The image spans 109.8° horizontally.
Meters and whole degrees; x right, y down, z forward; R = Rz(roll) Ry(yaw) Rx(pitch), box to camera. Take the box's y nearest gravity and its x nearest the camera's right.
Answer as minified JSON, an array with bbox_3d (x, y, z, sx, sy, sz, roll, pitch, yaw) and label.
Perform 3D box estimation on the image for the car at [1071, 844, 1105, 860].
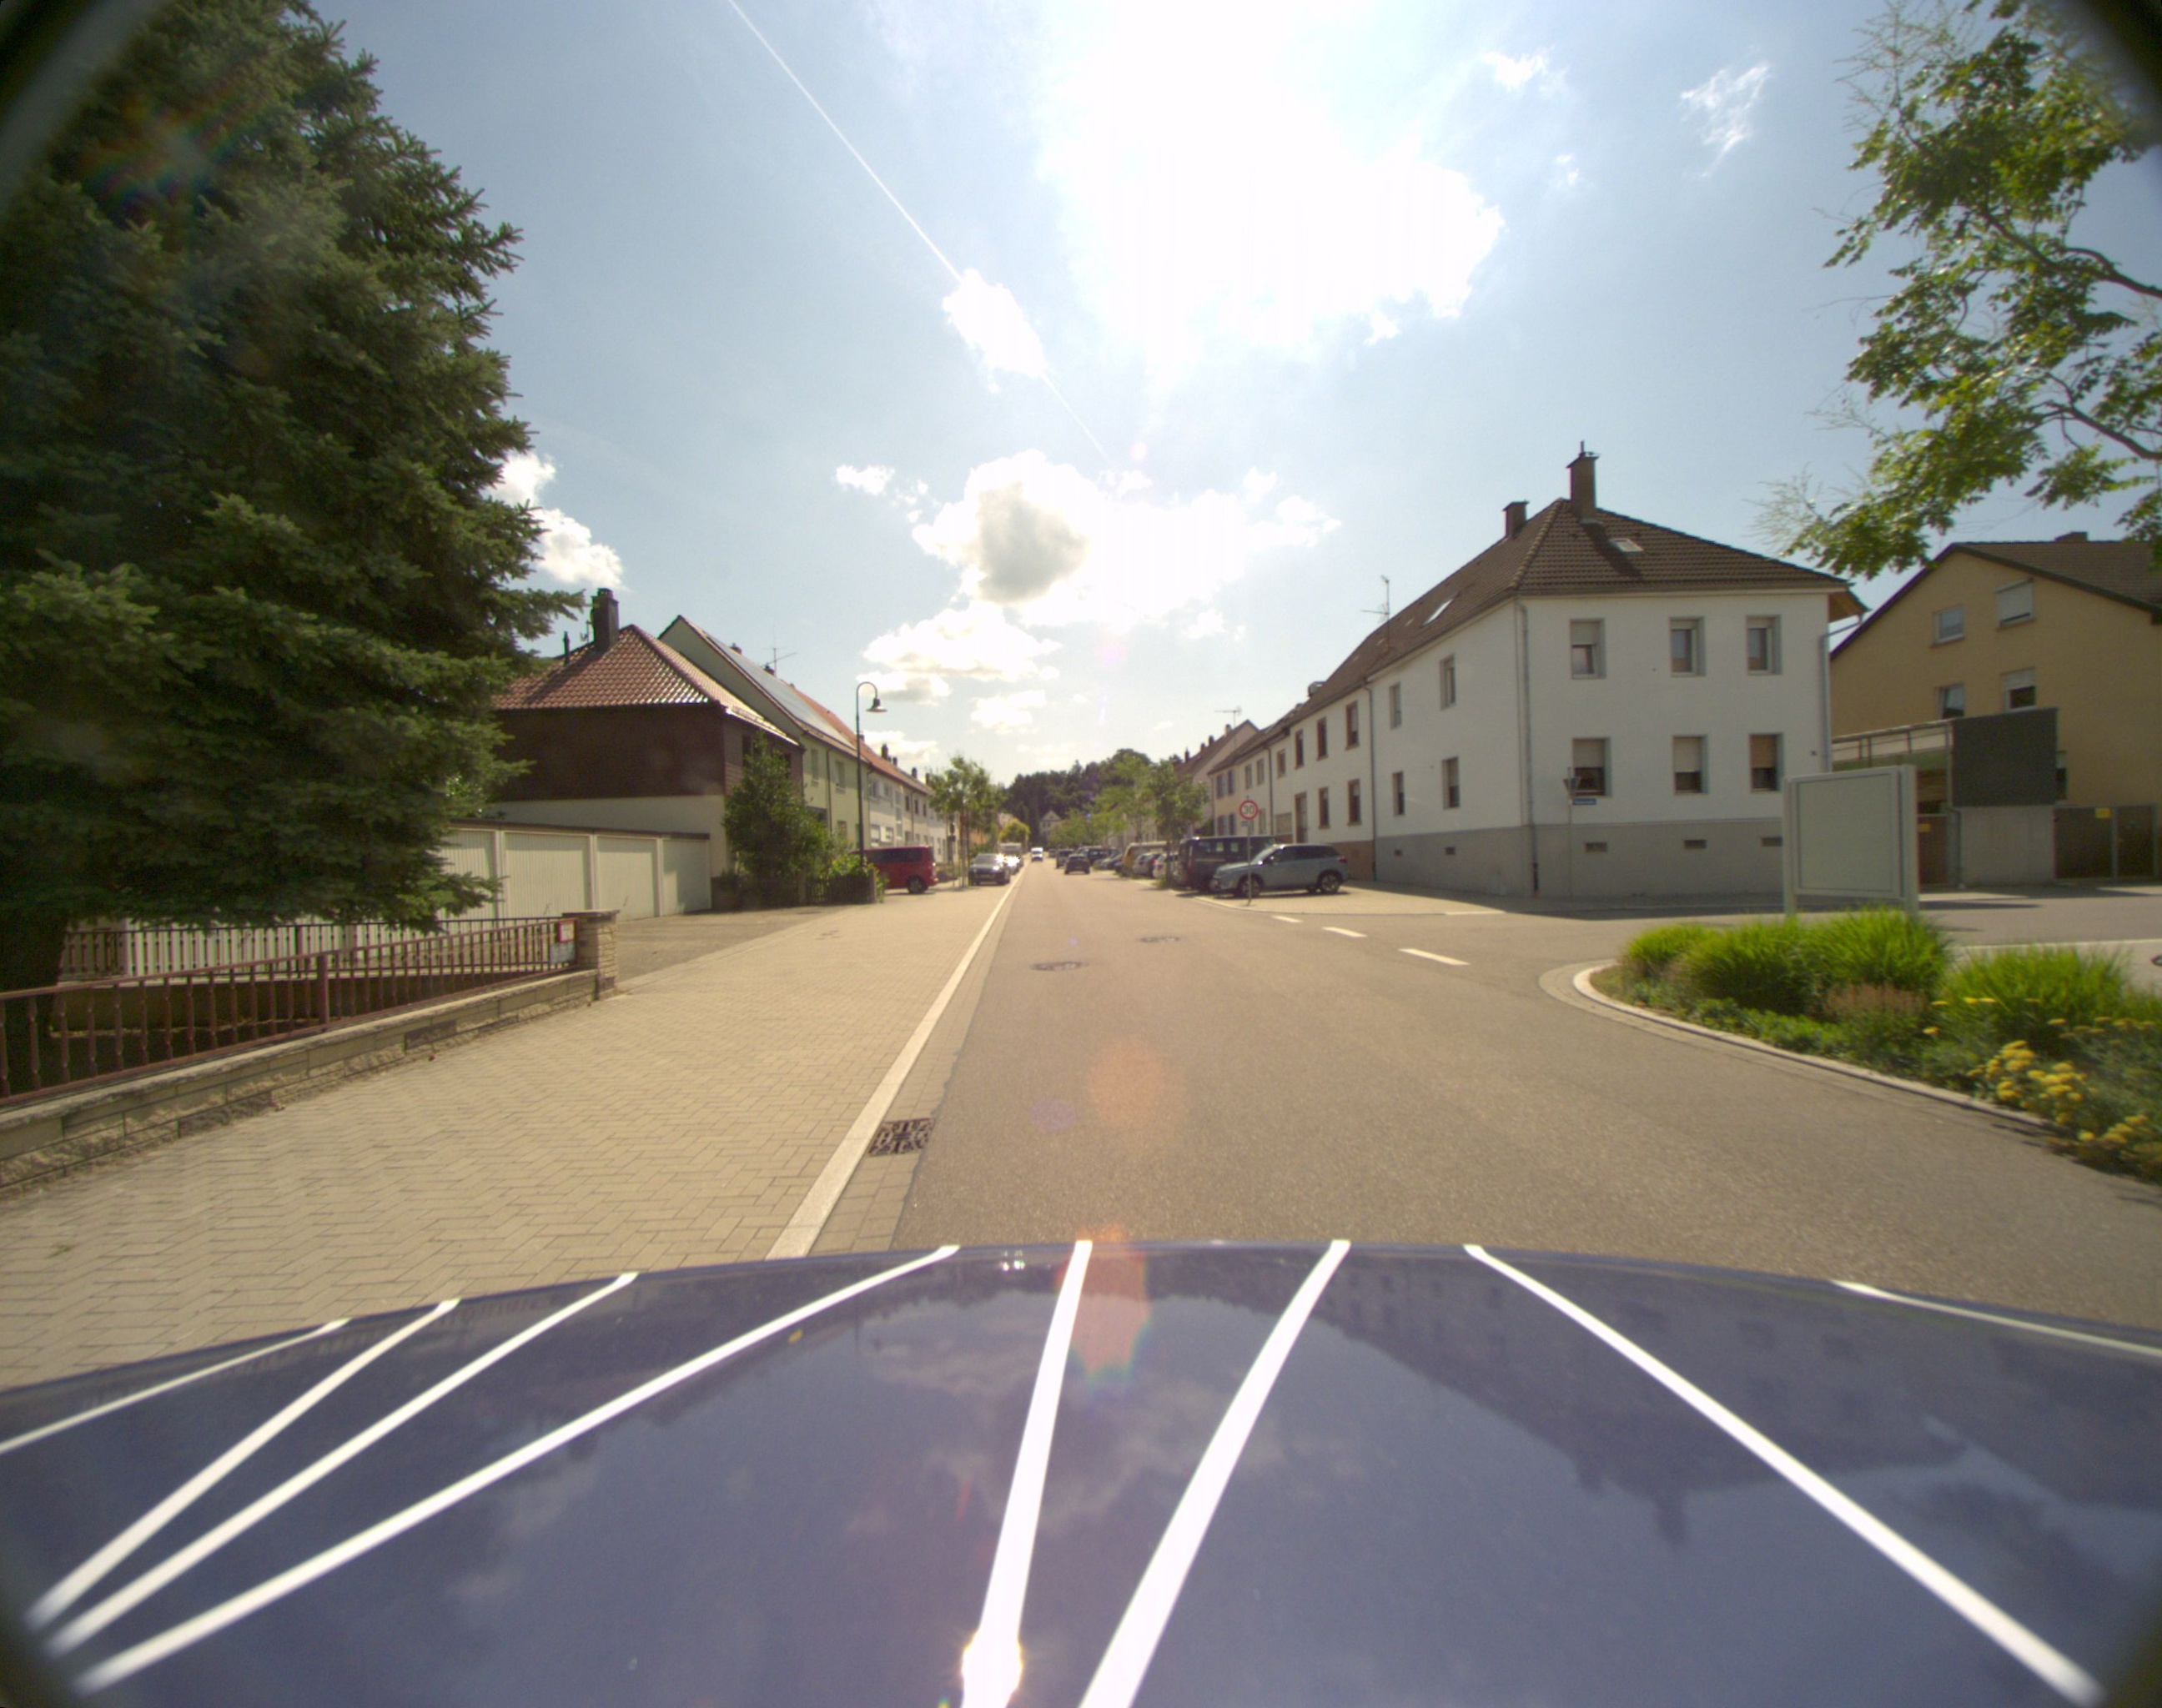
[{"bbox_3d":[1.057,-0.289,120.232,5.181,2.275,2.156,-3,1,-5],"label":"car"}]

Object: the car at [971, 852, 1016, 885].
[{"bbox_3d":[-4.533,0.720,39.841,1.869,1.626,4.446,1,0,-1],"label":"car"}]

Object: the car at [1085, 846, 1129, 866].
[{"bbox_3d":[2.804,0.228,82.763,4.625,1.985,1.952,-2,1,-1],"label":"car"}]

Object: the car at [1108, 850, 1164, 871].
[{"bbox_3d":[4.578,0.530,63.604,4.417,1.469,1.774,-3,1,-7],"label":"car"}]

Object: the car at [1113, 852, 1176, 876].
[{"bbox_3d":[4.265,0.676,51.593,4.021,1.451,1.755,-3,1,-3],"label":"car"}]

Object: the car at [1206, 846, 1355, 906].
[{"bbox_3d":[6.255,0.659,24.141,4.187,1.610,1.771,-3,1,-3],"label":"car"}]

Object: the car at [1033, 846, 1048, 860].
[{"bbox_3d":[-7.118,-0.239,132.446,2.490,2.306,5.597,-3,1,-4],"label":"car"}]

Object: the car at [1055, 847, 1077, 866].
[{"bbox_3d":[-1.575,0.226,78.505,2.028,1.939,4.896,-1,1,-4],"label":"car"}]

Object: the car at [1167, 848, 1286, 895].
[{"bbox_3d":[5.692,0.668,29.890,4.196,1.560,1.772,-3,1,-7],"label":"car"}]

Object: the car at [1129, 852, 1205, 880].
[{"bbox_3d":[5.082,0.703,44.911,4.086,1.459,1.752,-3,1,-11],"label":"car"}]

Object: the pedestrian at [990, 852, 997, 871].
[{"bbox_3d":[-7.843,0.654,67.989,0.559,1.739,0.673,-1,1,-2],"label":"pedestrian"}]

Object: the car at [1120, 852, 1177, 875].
[{"bbox_3d":[4.822,0.639,54.590,3.803,1.451,1.754,-3,1,-6],"label":"car"}]

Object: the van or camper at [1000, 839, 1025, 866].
[{"bbox_3d":[-7.445,-0.164,83.147,2.480,2.793,5.788,0,0,-3],"label":"van or camper"}]

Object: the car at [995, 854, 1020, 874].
[{"bbox_3d":[-5.809,0.765,60.356,1.837,1.457,4.517,-2,0,-5],"label":"car"}]

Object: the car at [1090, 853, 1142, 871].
[{"bbox_3d":[3.223,0.728,70.449,4.537,1.417,1.795,-3,1,-3],"label":"car"}]

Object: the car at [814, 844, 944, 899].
[{"bbox_3d":[-7.955,0.653,30.373,4.632,1.883,2.019,-3,1,-4],"label":"car"}]

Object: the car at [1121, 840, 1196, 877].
[{"bbox_3d":[4.982,0.296,49.403,4.521,2.165,1.924,-3,1,-3],"label":"car"}]

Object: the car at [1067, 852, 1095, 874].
[{"bbox_3d":[-0.039,0.593,54.773,1.768,1.514,4.047,0,0,-4],"label":"car"}]

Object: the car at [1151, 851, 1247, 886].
[{"bbox_3d":[5.660,0.691,36.805,4.306,1.459,1.773,-2,1,-1],"label":"car"}]

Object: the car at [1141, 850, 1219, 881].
[{"bbox_3d":[5.446,0.612,42.008,3.892,1.459,1.657,-3,1,-11],"label":"car"}]

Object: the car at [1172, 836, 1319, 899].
[{"bbox_3d":[5.795,0.442,27.100,4.713,1.912,1.937,-3,1,-3],"label":"car"}]

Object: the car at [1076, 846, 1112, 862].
[{"bbox_3d":[1.746,0.020,103.914,4.690,1.896,1.999,-3,1,-3],"label":"car"}]

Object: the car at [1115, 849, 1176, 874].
[{"bbox_3d":[4.833,0.546,57.270,4.265,1.602,1.842,-3,1,-4],"label":"car"}]

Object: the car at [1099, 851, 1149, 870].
[{"bbox_3d":[3.759,0.528,66.486,4.066,1.469,1.775,-3,1,-6],"label":"car"}]

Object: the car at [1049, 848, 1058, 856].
[{"bbox_3d":[-7.181,-0.531,197.943,1.999,1.968,3.998,-1,1,-4],"label":"car"}]
